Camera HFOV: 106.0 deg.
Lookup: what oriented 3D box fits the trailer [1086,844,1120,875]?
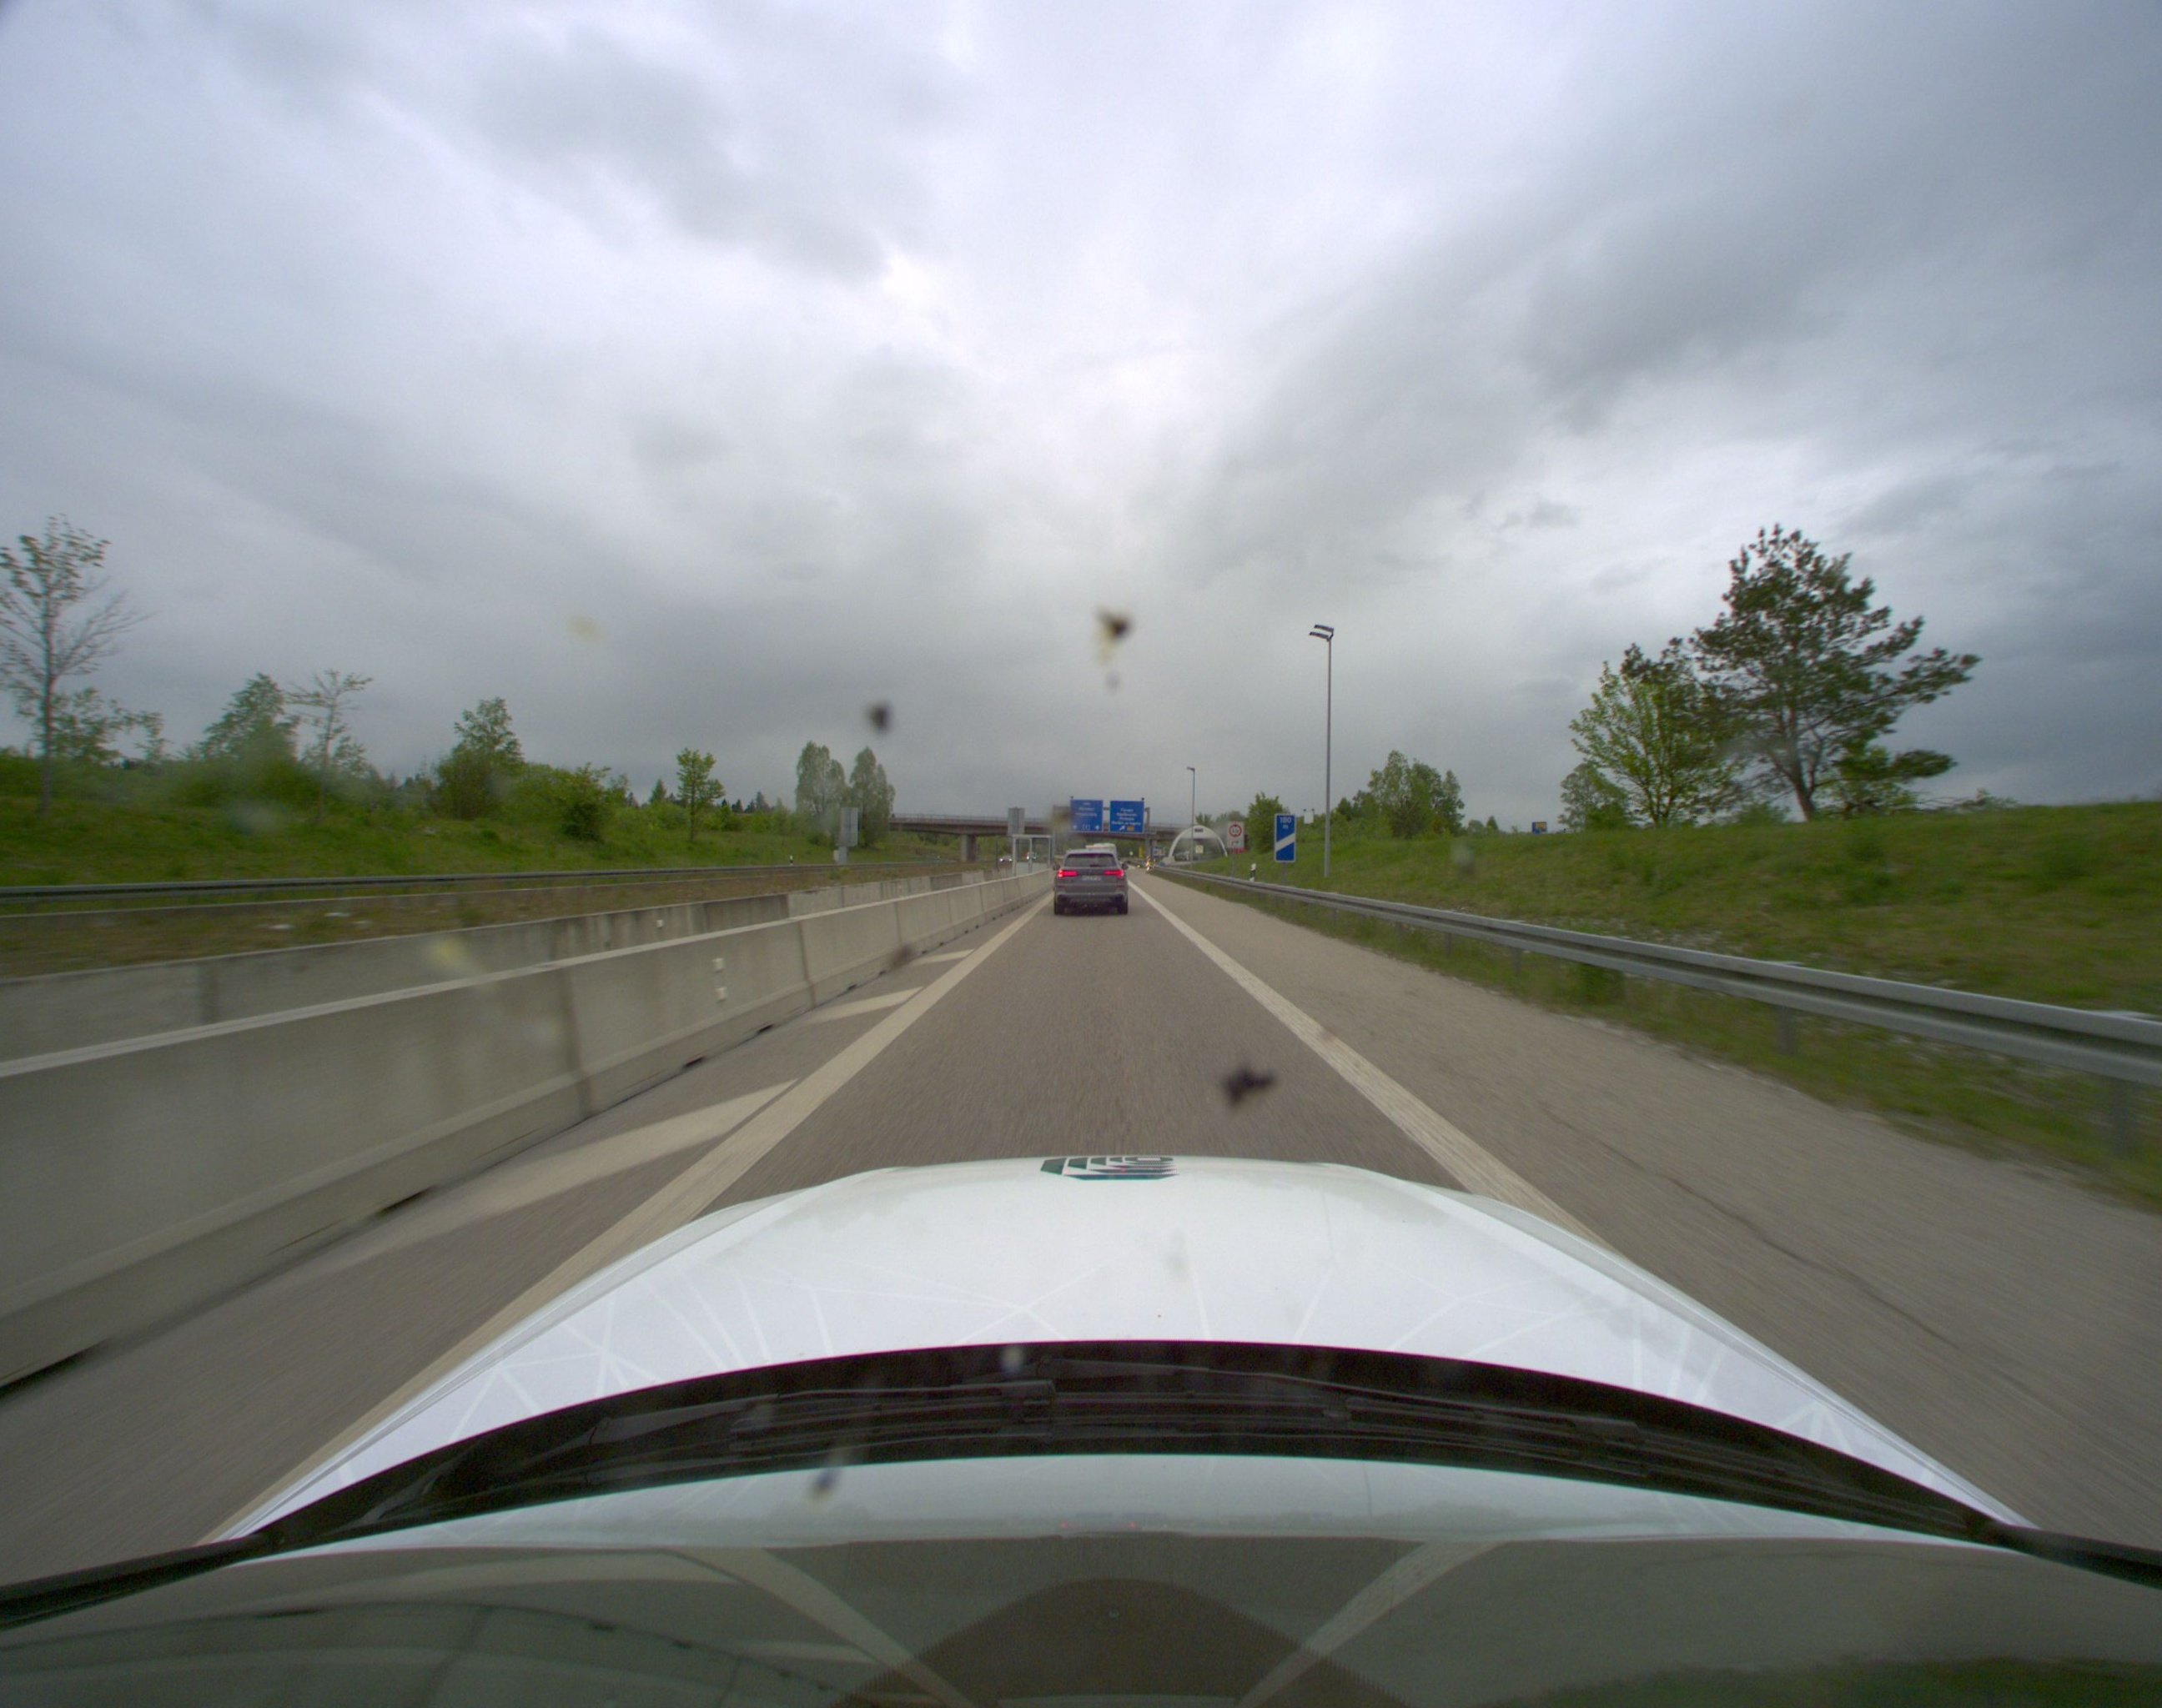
[{"bbox_3d":[1.905,0.463,67.685,2.267,2.430,6.829,-1,-1,6],"label":"trailer"}]

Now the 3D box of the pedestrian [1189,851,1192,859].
[{"bbox_3d":[22.269,0.186,165.671,0.645,1.775,0.606,-1,0,3],"label":"pedestrian"}]

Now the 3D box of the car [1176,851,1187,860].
[{"bbox_3d":[20.101,0.227,162.423,1.984,1.772,3.771,-1,0,5],"label":"car"}]

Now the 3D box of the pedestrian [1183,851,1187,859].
[{"bbox_3d":[21.103,0.208,164.725,0.716,1.775,0.691,-1,0,5],"label":"pedestrian"}]

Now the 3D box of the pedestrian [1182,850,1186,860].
[{"bbox_3d":[20.990,0.149,165.921,0.716,1.945,0.691,-1,0,5],"label":"pedestrian"}]

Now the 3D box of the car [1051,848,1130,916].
[{"bbox_3d":[0.301,0.719,22.686,1.986,1.719,4.001,-1,0,1],"label":"car"}]

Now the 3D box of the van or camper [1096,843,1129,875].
[{"bbox_3d":[2.903,0.455,74.011,2.143,2.763,5.889,-1,-1,11],"label":"van or camper"}]
